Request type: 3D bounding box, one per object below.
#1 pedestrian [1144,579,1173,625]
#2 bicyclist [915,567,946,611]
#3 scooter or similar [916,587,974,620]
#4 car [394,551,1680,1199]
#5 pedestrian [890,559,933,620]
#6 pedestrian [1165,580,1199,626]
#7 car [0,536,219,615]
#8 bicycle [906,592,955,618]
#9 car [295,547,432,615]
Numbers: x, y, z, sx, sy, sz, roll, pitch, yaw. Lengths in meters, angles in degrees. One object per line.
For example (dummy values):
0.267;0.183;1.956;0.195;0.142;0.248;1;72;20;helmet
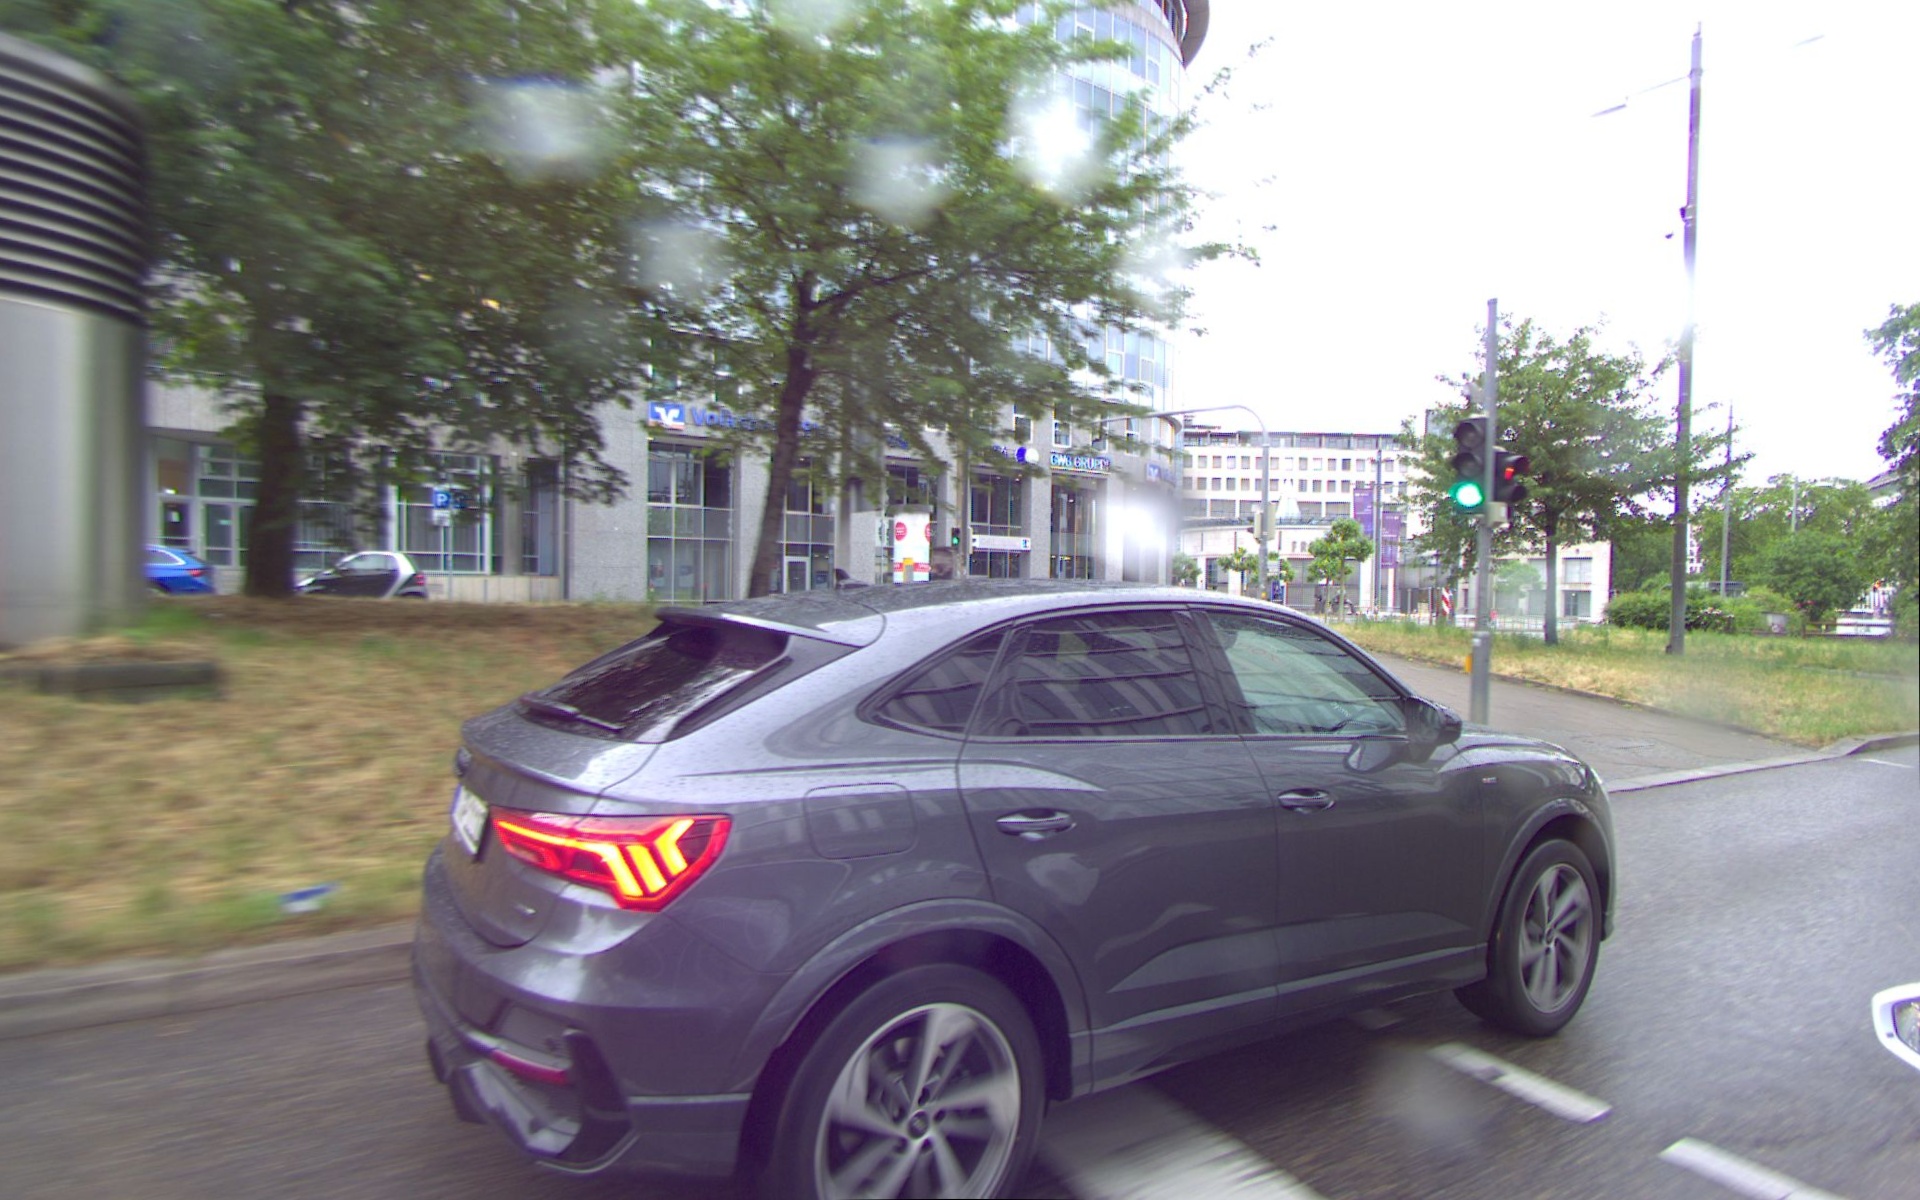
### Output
9.000;0.102;45.568;0.840;2.040;1.029;2;0;44;pedestrian
-1.233;-0.437;41.529;1.031;1.764;0.732;1;0;-35;bicyclist
-0.593;0.138;39.808;2.225;1.229;0.767;2;1;-37;scooter or similar
0.530;0.728;3.560;4.299;1.538;1.849;2;0;-33;car
-1.540;-0.322;32.116;0.946;1.906;0.927;2;0;44;pedestrian
9.942;0.131;44.946;1.041;2.040;1.029;2;0;44;pedestrian
-17.524;-0.493;20.122;4.281;1.404;1.662;2;2;-38;car
-1.228;0.198;41.541;1.915;1.020;0.739;2;0;-35;bicycle
-13.657;-0.425;23.033;2.599;1.404;1.232;2;2;-34;car
